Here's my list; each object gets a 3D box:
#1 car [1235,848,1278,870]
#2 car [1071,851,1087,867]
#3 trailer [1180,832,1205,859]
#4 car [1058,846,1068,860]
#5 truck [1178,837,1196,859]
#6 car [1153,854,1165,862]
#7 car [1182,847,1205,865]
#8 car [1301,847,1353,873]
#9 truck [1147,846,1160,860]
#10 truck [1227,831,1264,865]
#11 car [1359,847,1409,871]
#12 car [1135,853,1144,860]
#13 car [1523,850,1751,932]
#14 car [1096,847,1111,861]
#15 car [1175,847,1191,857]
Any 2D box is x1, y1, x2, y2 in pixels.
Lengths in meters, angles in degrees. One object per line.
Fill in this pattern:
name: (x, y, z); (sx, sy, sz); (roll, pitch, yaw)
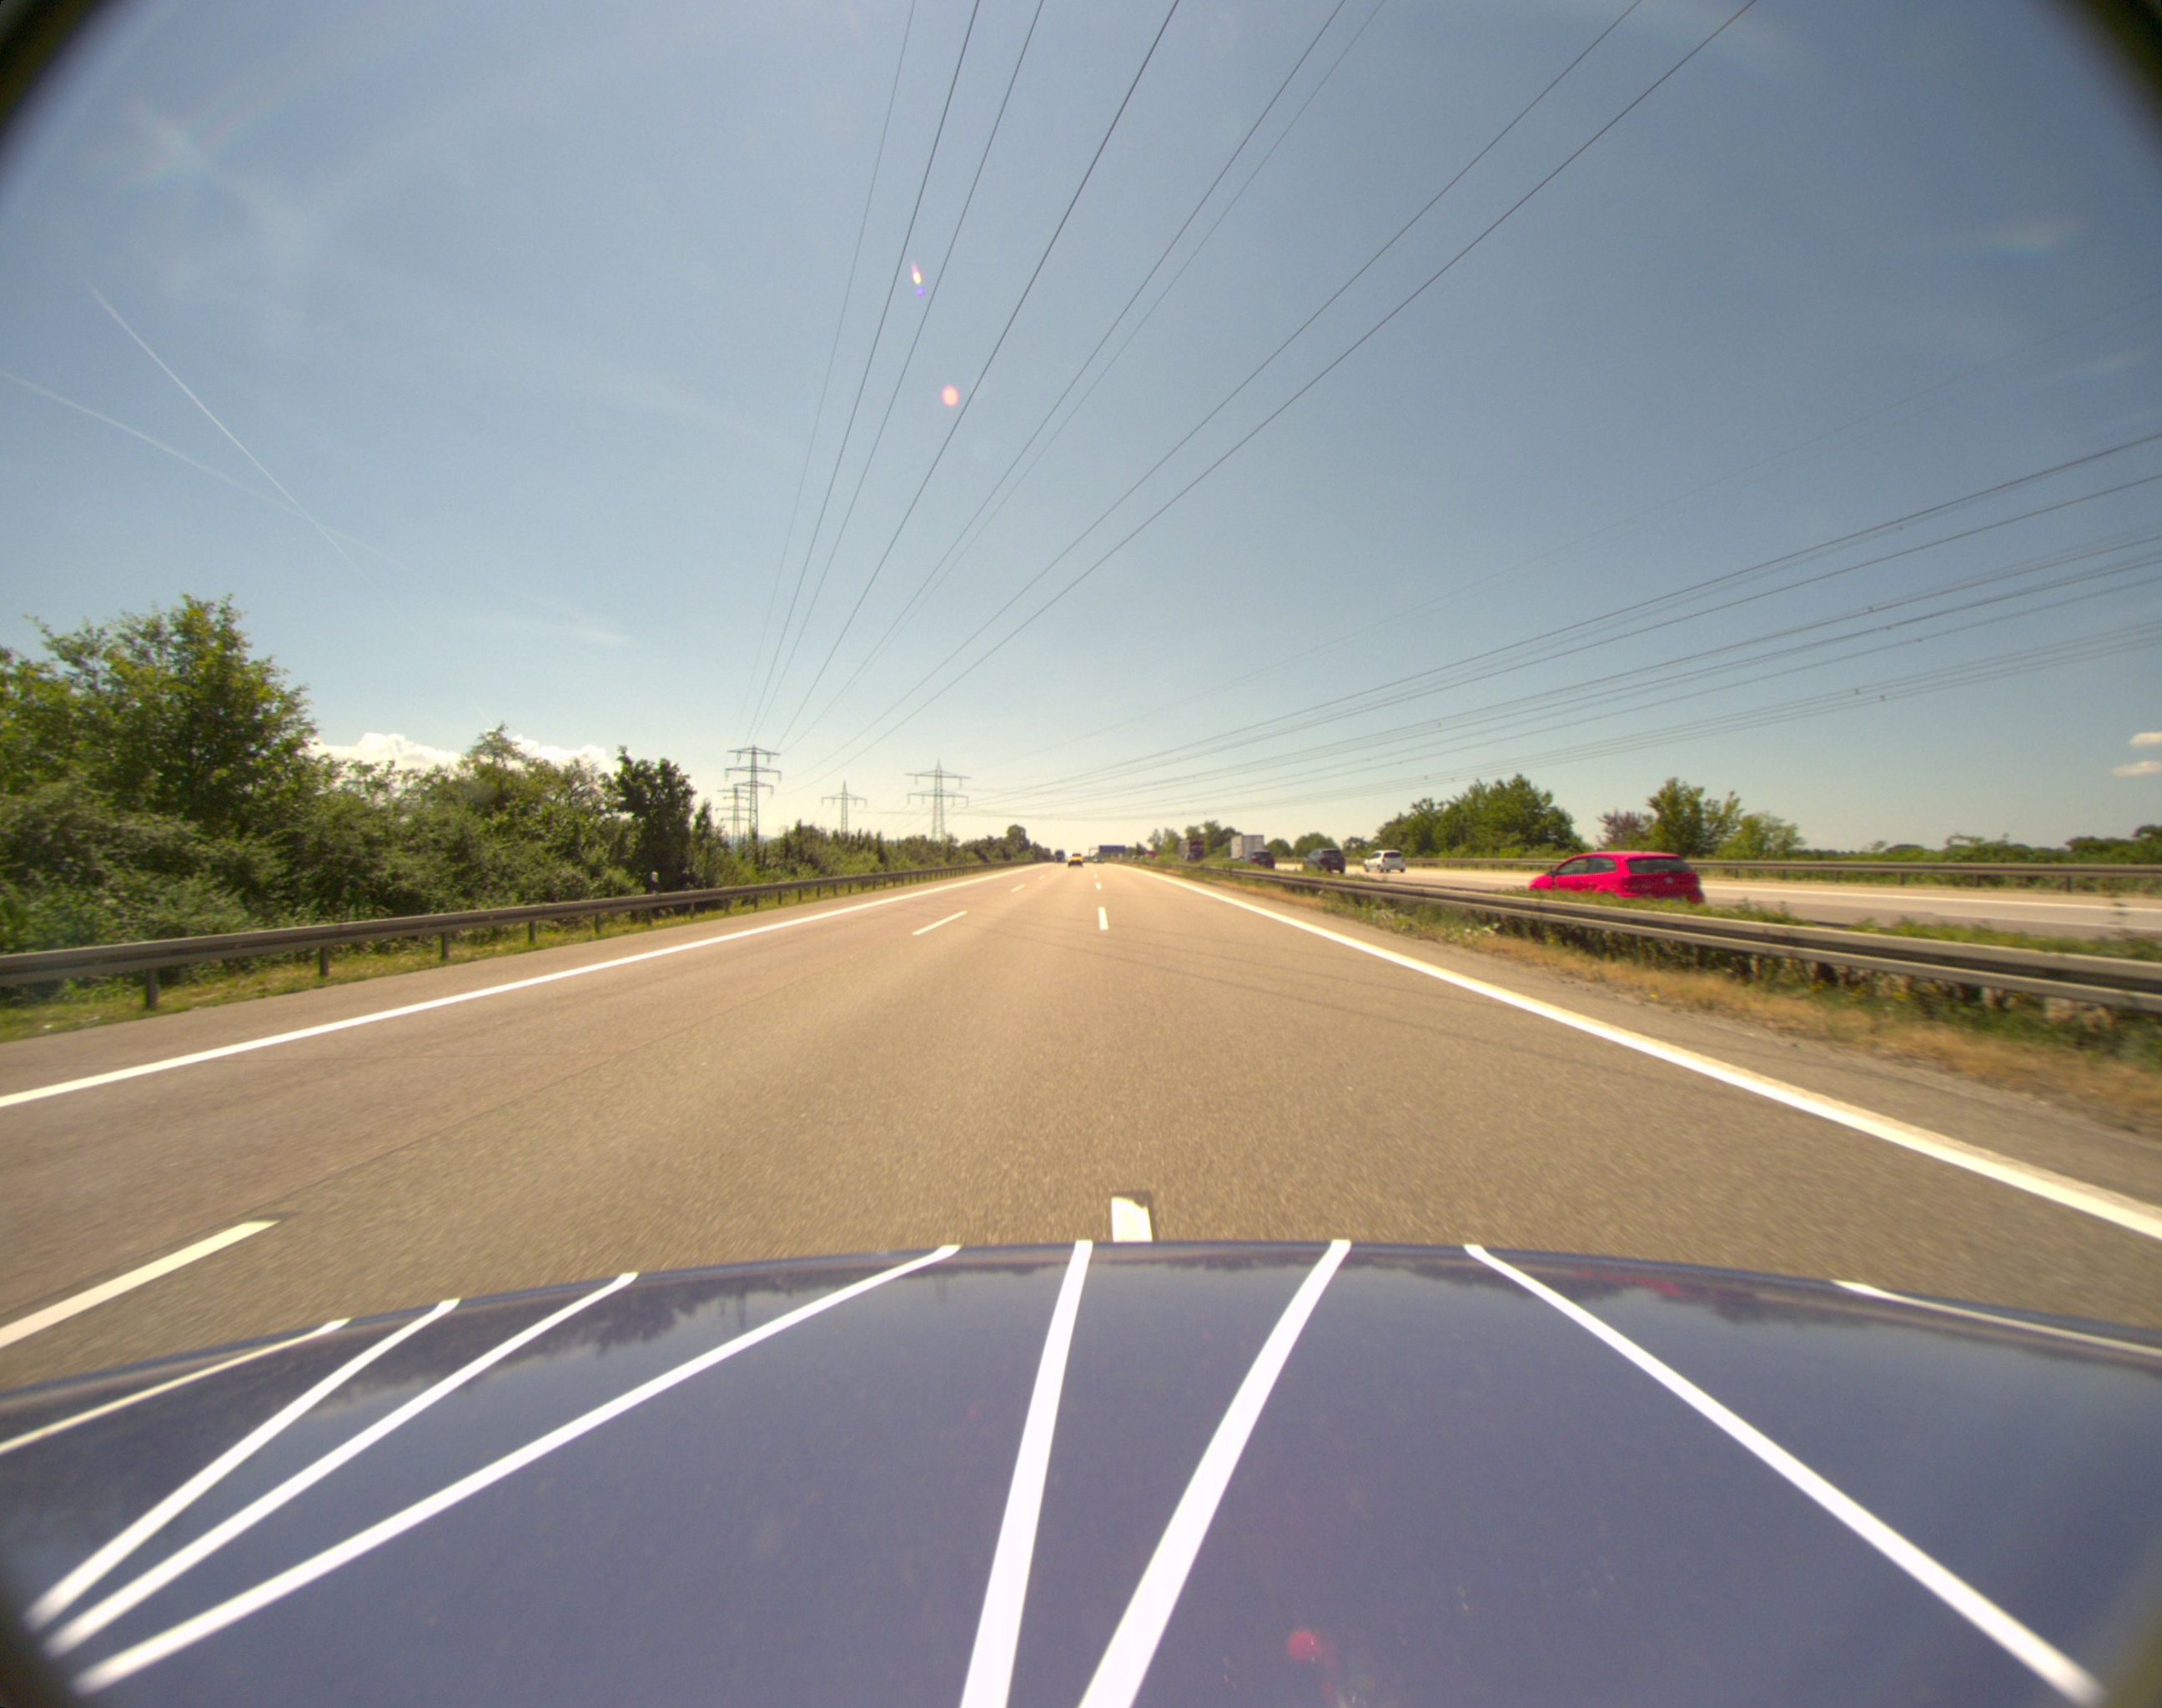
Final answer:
car: (12.300, 0.310, 53.391); (1.998, 1.427, 4.411); (-2, 0, 1)
car: (-0.301, 0.694, 98.097); (1.955, 2.001, 5.433); (0, -1, -1)
trailer: (20.582, -1.469, 141.251); (2.655, 4.525, 13.865); (-2, -1, 0)
car: (-5.130, -0.331, 215.296); (2.687, 3.723, 6.271); (0, -1, -1)
truck: (20.629, -1.125, 148.147); (2.655, 3.959, 5.992); (-2, 0, 0)
car: (16.723, 0.801, 163.015); (1.949, 1.608, 5.017); (-2, -1, 1)
car: (12.952, 0.285, 87.807); (1.998, 1.962, 4.286); (-2, -1, 1)
car: (16.275, 0.412, 50.519); (1.998, 1.608, 4.412); (-2, -1, 1)
truck: (19.791, -0.198, 208.123); (2.777, 3.506, 8.533); (-2, -1, 0)
truck: (19.826, -0.643, 92.159); (2.459, 3.952, 9.672); (1, -1, 0)
car: (20.026, 0.304, 50.373); (1.669, 1.523, 4.279); (-1, 0, 1)
car: (15.766, 0.599, 206.164); (1.976, 1.763, 4.368); (-2, -1, 0)
car: (11.357, 0.668, 15.936); (1.908, 1.471, 3.960); (-1, 0, 1)
car: (4.227, 0.029, 144.071); (2.687, 2.509, 5.967); (0, -1, -1)
car: (16.864, -0.310, 126.043); (1.998, 1.608, 5.017); (-2, -1, 1)
